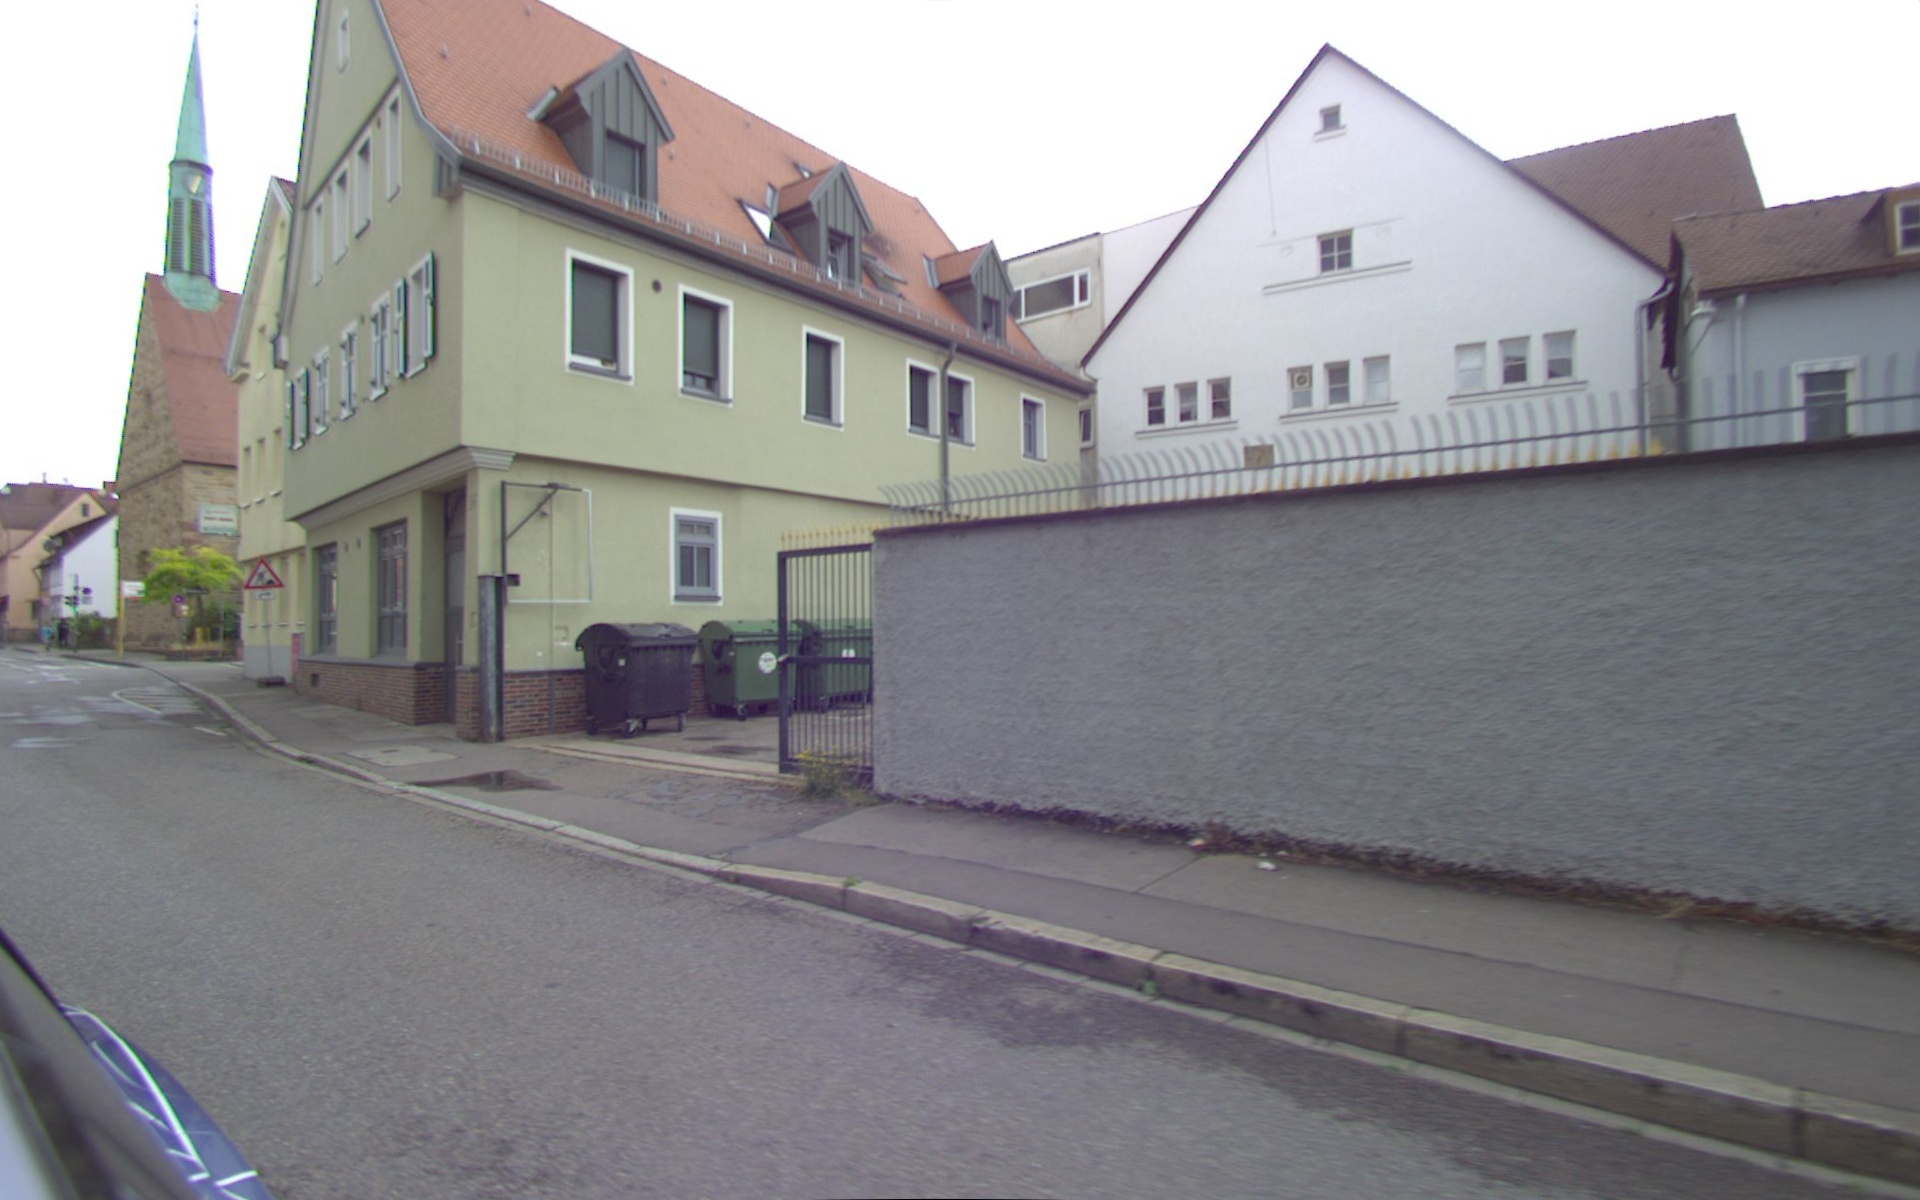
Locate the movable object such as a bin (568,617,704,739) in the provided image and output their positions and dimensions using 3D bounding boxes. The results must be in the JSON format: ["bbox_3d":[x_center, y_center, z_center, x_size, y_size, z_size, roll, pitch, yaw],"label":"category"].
[{"bbox_3d":[-4.229,0.977,13.247,1.097,1.487,1.297,-1,-1,33],"label":"movable object such as a bin"}]

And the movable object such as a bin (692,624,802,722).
[{"bbox_3d":[-3.161,1.043,15.036,1.228,1.371,1.060,1,-2,-44],"label":"movable object such as a bin"}]

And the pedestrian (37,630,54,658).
[{"bbox_3d":[-53.010,2.525,58.673,0.711,1.618,0.629,-1,-2,43],"label":"pedestrian"}]

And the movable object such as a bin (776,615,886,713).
[{"bbox_3d":[-2.044,0.979,16.085,1.100,1.460,1.325,-2,-2,41],"label":"movable object such as a bin"}]

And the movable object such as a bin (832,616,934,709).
[{"bbox_3d":[-1.304,1.021,17.263,1.099,1.462,1.326,2,1,40],"label":"movable object such as a bin"}]

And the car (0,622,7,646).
[{"bbox_3d":[-71.498,2.461,73.978,4.496,1.690,2.184,-1,-2,41],"label":"car"}]

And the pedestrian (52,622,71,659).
[{"bbox_3d":[-52.494,2.375,59.124,0.783,2.137,0.748,-2,-1,43],"label":"pedestrian"}]
